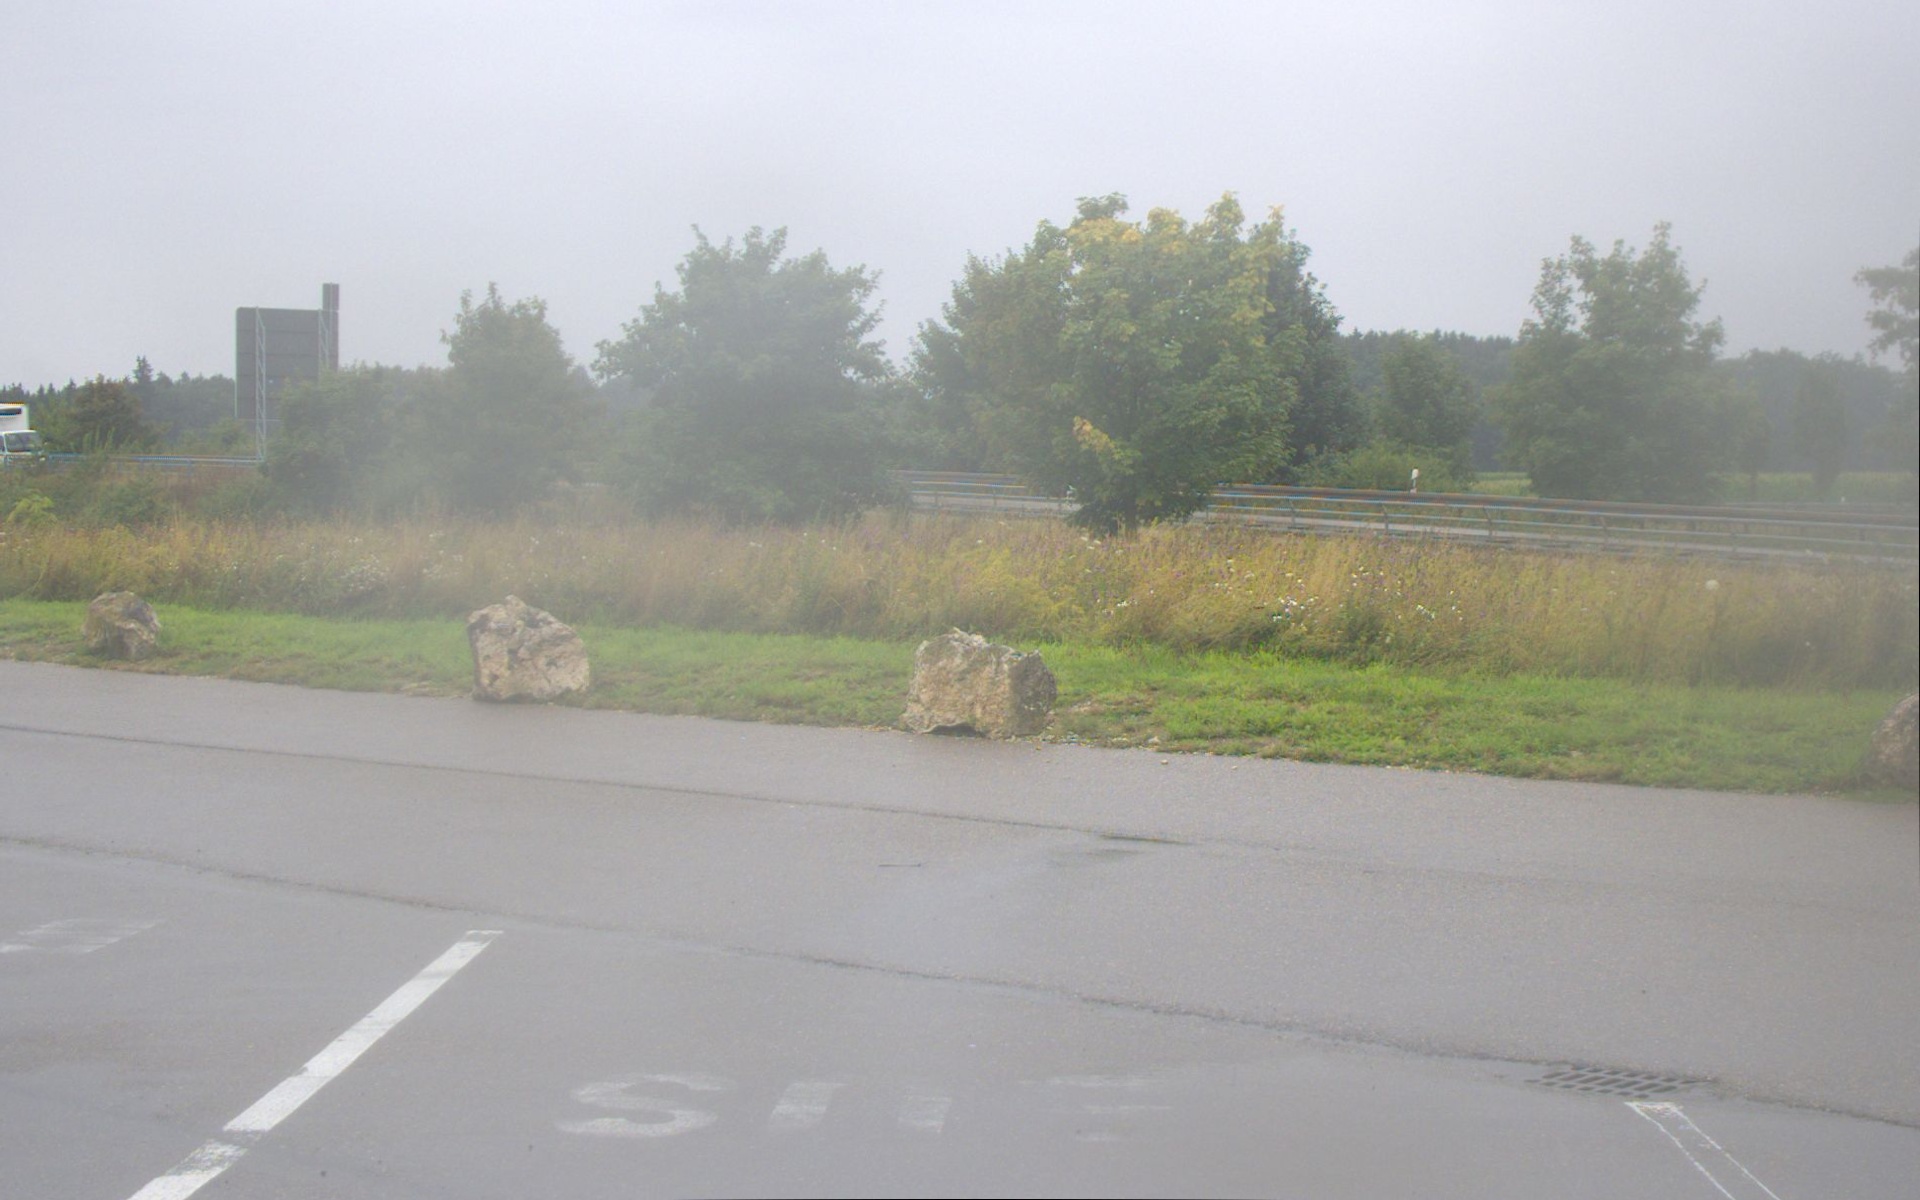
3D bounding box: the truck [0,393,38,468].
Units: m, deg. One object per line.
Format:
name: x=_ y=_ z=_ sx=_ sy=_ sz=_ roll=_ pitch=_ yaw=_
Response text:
truck: x=-45.702 y=-7.784 z=158.107 sx=2.741 sy=3.379 sz=8.062 roll=-1 pitch=2 yaw=-45
